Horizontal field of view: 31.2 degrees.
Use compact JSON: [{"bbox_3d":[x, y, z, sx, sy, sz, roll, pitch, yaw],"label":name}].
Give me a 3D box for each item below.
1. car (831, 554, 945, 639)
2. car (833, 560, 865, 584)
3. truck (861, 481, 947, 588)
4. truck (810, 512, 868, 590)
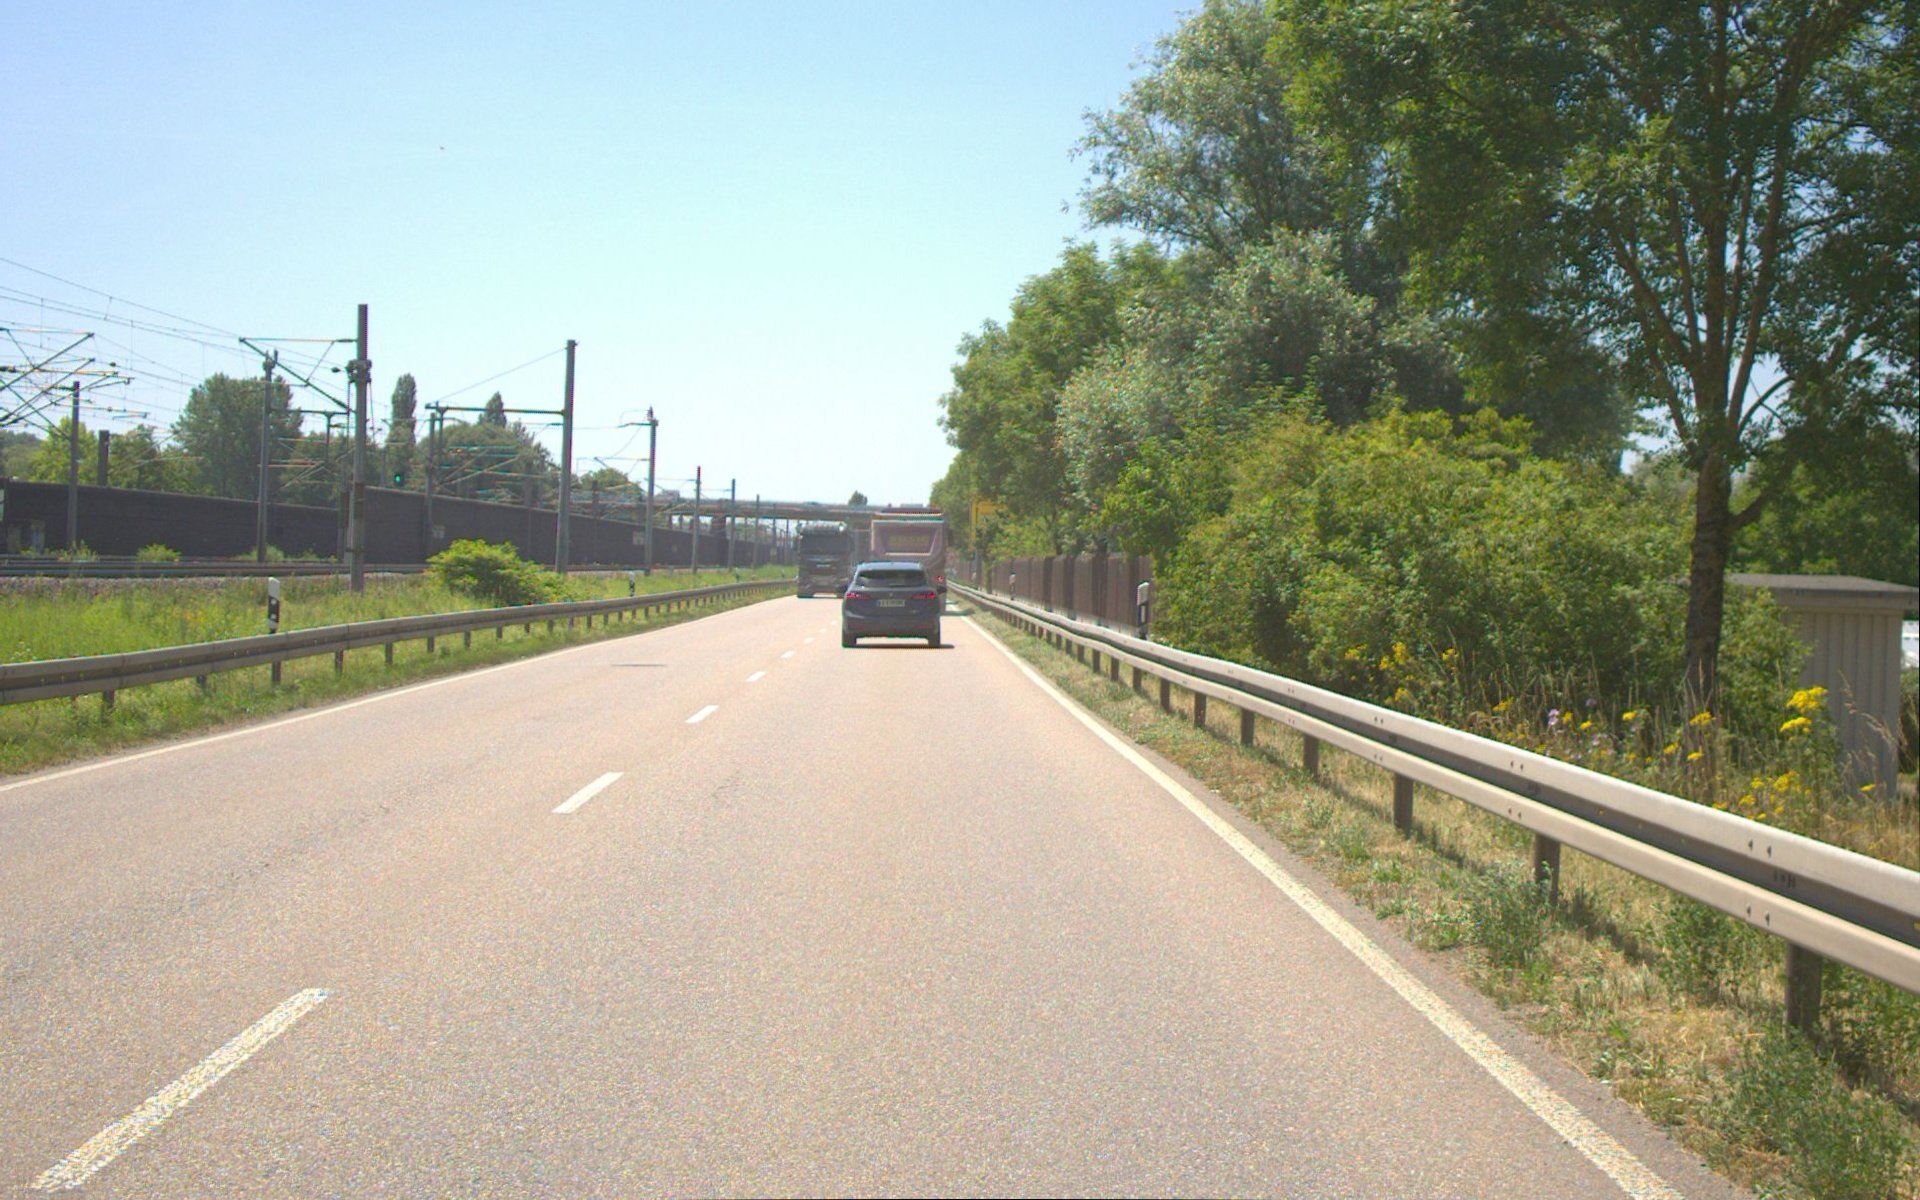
[{"bbox_3d":[-1.364,-0.082,63.993,1.993,1.503,4.001,0,1,-3],"label":"car"},{"bbox_3d":[-7.178,-1.840,222.604,1.975,1.503,4.163,1,1,-1],"label":"car"},{"bbox_3d":[-1.894,-2.192,117.254,2.770,3.414,10.820,1,1,-1],"label":"truck"},{"bbox_3d":[-5.884,-2.393,168.025,2.658,3.614,10.979,1,1,-2],"label":"truck"}]
